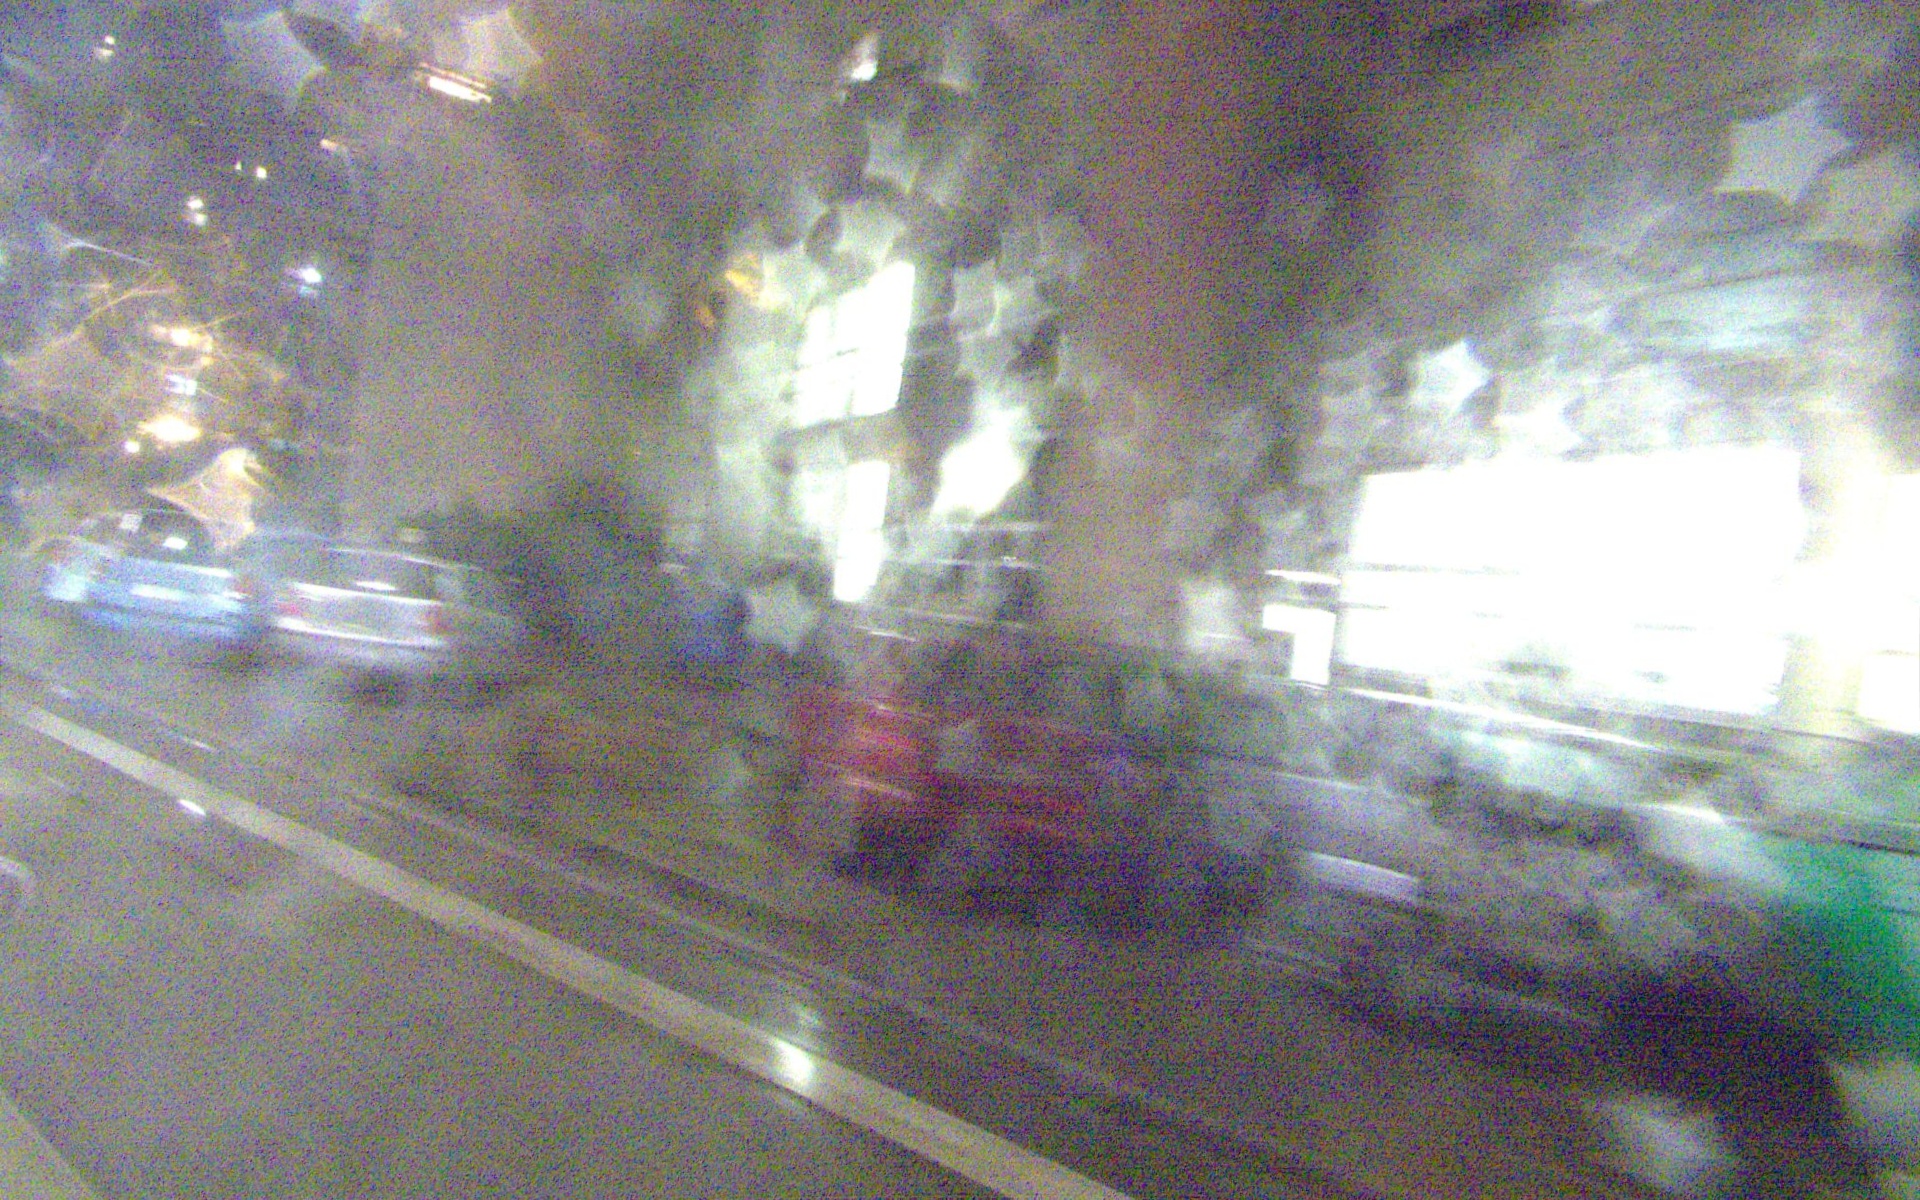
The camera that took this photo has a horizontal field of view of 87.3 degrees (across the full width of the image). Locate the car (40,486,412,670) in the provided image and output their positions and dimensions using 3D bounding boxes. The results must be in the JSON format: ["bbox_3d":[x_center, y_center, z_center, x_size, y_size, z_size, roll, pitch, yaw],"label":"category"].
[{"bbox_3d":[-8.210,-0.167,11.778,1.791,1.551,3.885,8,-2,-9],"label":"car"}]

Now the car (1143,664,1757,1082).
[{"bbox_3d":[2.303,1.219,5.738,1.602,1.401,3.338,8,-2,-3],"label":"car"}]

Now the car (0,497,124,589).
[{"bbox_3d":[-16.846,-1.083,17.554,1.610,1.447,3.824,8,-2,-10],"label":"car"}]

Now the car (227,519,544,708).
[{"bbox_3d":[-5.888,0.173,10.886,1.793,1.449,3.849,8,-3,-13],"label":"car"}]

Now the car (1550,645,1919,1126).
[{"bbox_3d":[4.843,1.281,3.982,1.930,1.859,4.171,9,-3,-9],"label":"car"}]

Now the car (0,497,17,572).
[{"bbox_3d":[-22.033,-1.624,20.798,2.025,1.641,3.818,8,-3,-16],"label":"car"}]

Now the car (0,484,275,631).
[{"bbox_3d":[-11.640,-0.505,14.454,1.679,1.550,3.742,10,-3,-16],"label":"car"}]

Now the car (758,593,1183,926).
[{"bbox_3d":[-0.327,0.827,7.187,1.667,1.421,4.441,8,0,-16],"label":"car"}]
